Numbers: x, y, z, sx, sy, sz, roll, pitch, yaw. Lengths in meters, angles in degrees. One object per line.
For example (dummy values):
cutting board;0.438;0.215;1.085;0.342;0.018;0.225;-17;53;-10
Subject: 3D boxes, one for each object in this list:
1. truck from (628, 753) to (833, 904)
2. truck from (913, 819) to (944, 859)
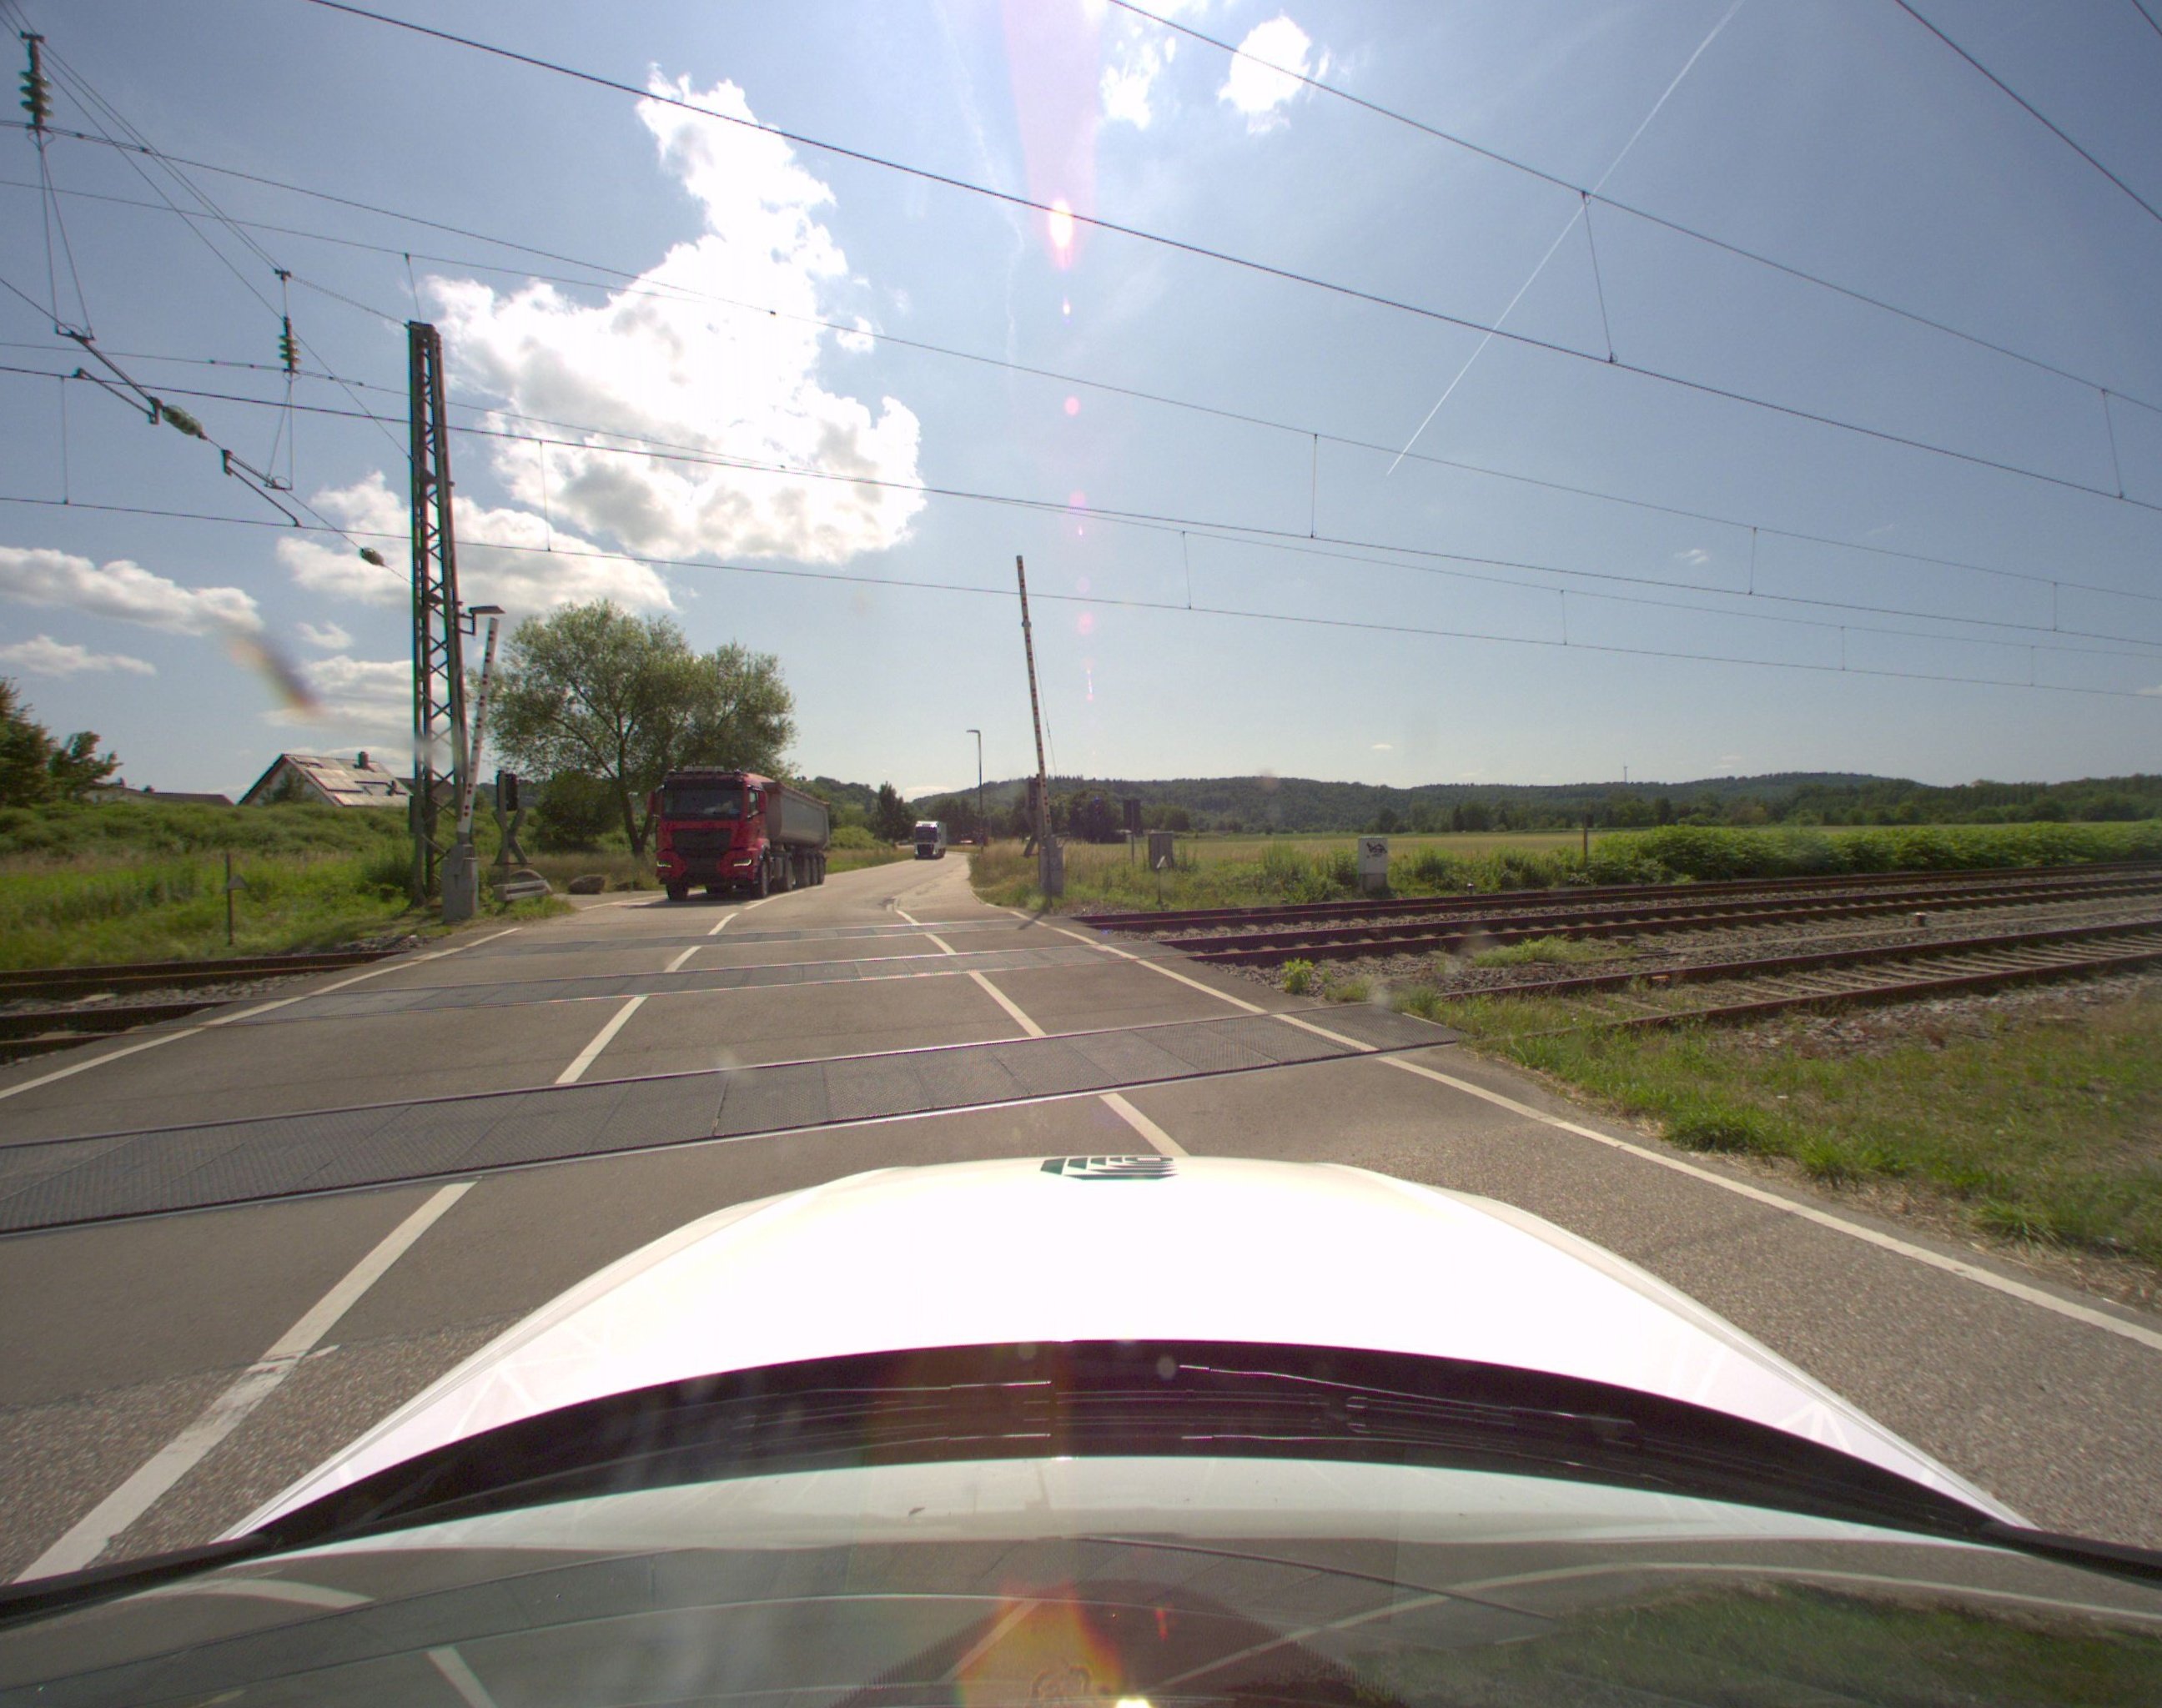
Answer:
truck;-10.586;-0.736;26.429;2.870;3.745;12.117;-1;1;-8
truck;-16.059;-1.574;86.240;2.567;3.948;6.028;-2;1;-6
